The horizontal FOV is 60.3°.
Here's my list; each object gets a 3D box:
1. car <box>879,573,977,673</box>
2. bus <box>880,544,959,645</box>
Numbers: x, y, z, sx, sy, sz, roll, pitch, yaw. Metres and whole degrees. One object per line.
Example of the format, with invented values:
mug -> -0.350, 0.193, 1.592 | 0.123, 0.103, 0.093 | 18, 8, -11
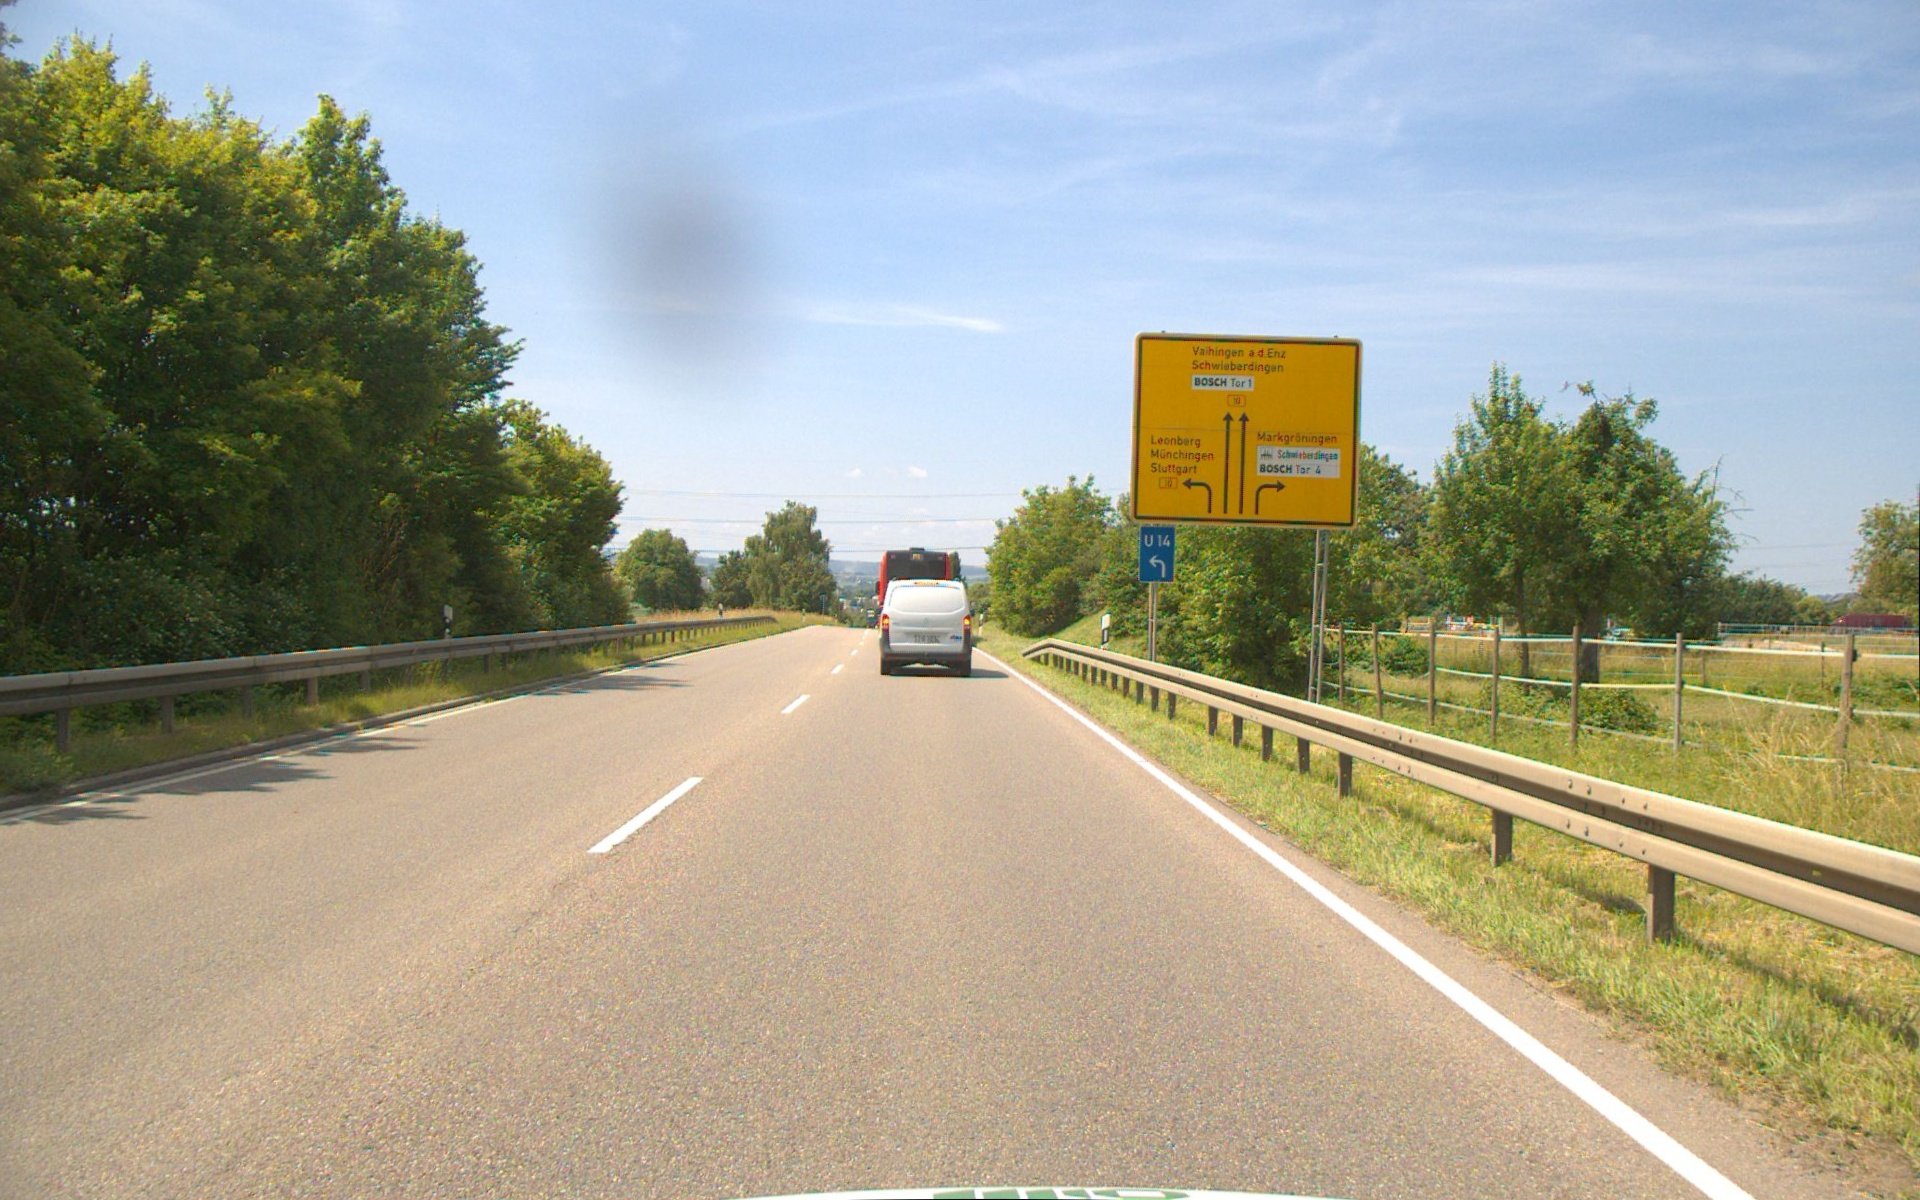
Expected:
car -> -0.724, 0.422, 34.339 | 1.885, 1.922, 3.998 | 1, 1, -3
bus -> -1.653, -0.290, 62.859 | 2.692, 3.412, 13.216 | 0, 1, -2
